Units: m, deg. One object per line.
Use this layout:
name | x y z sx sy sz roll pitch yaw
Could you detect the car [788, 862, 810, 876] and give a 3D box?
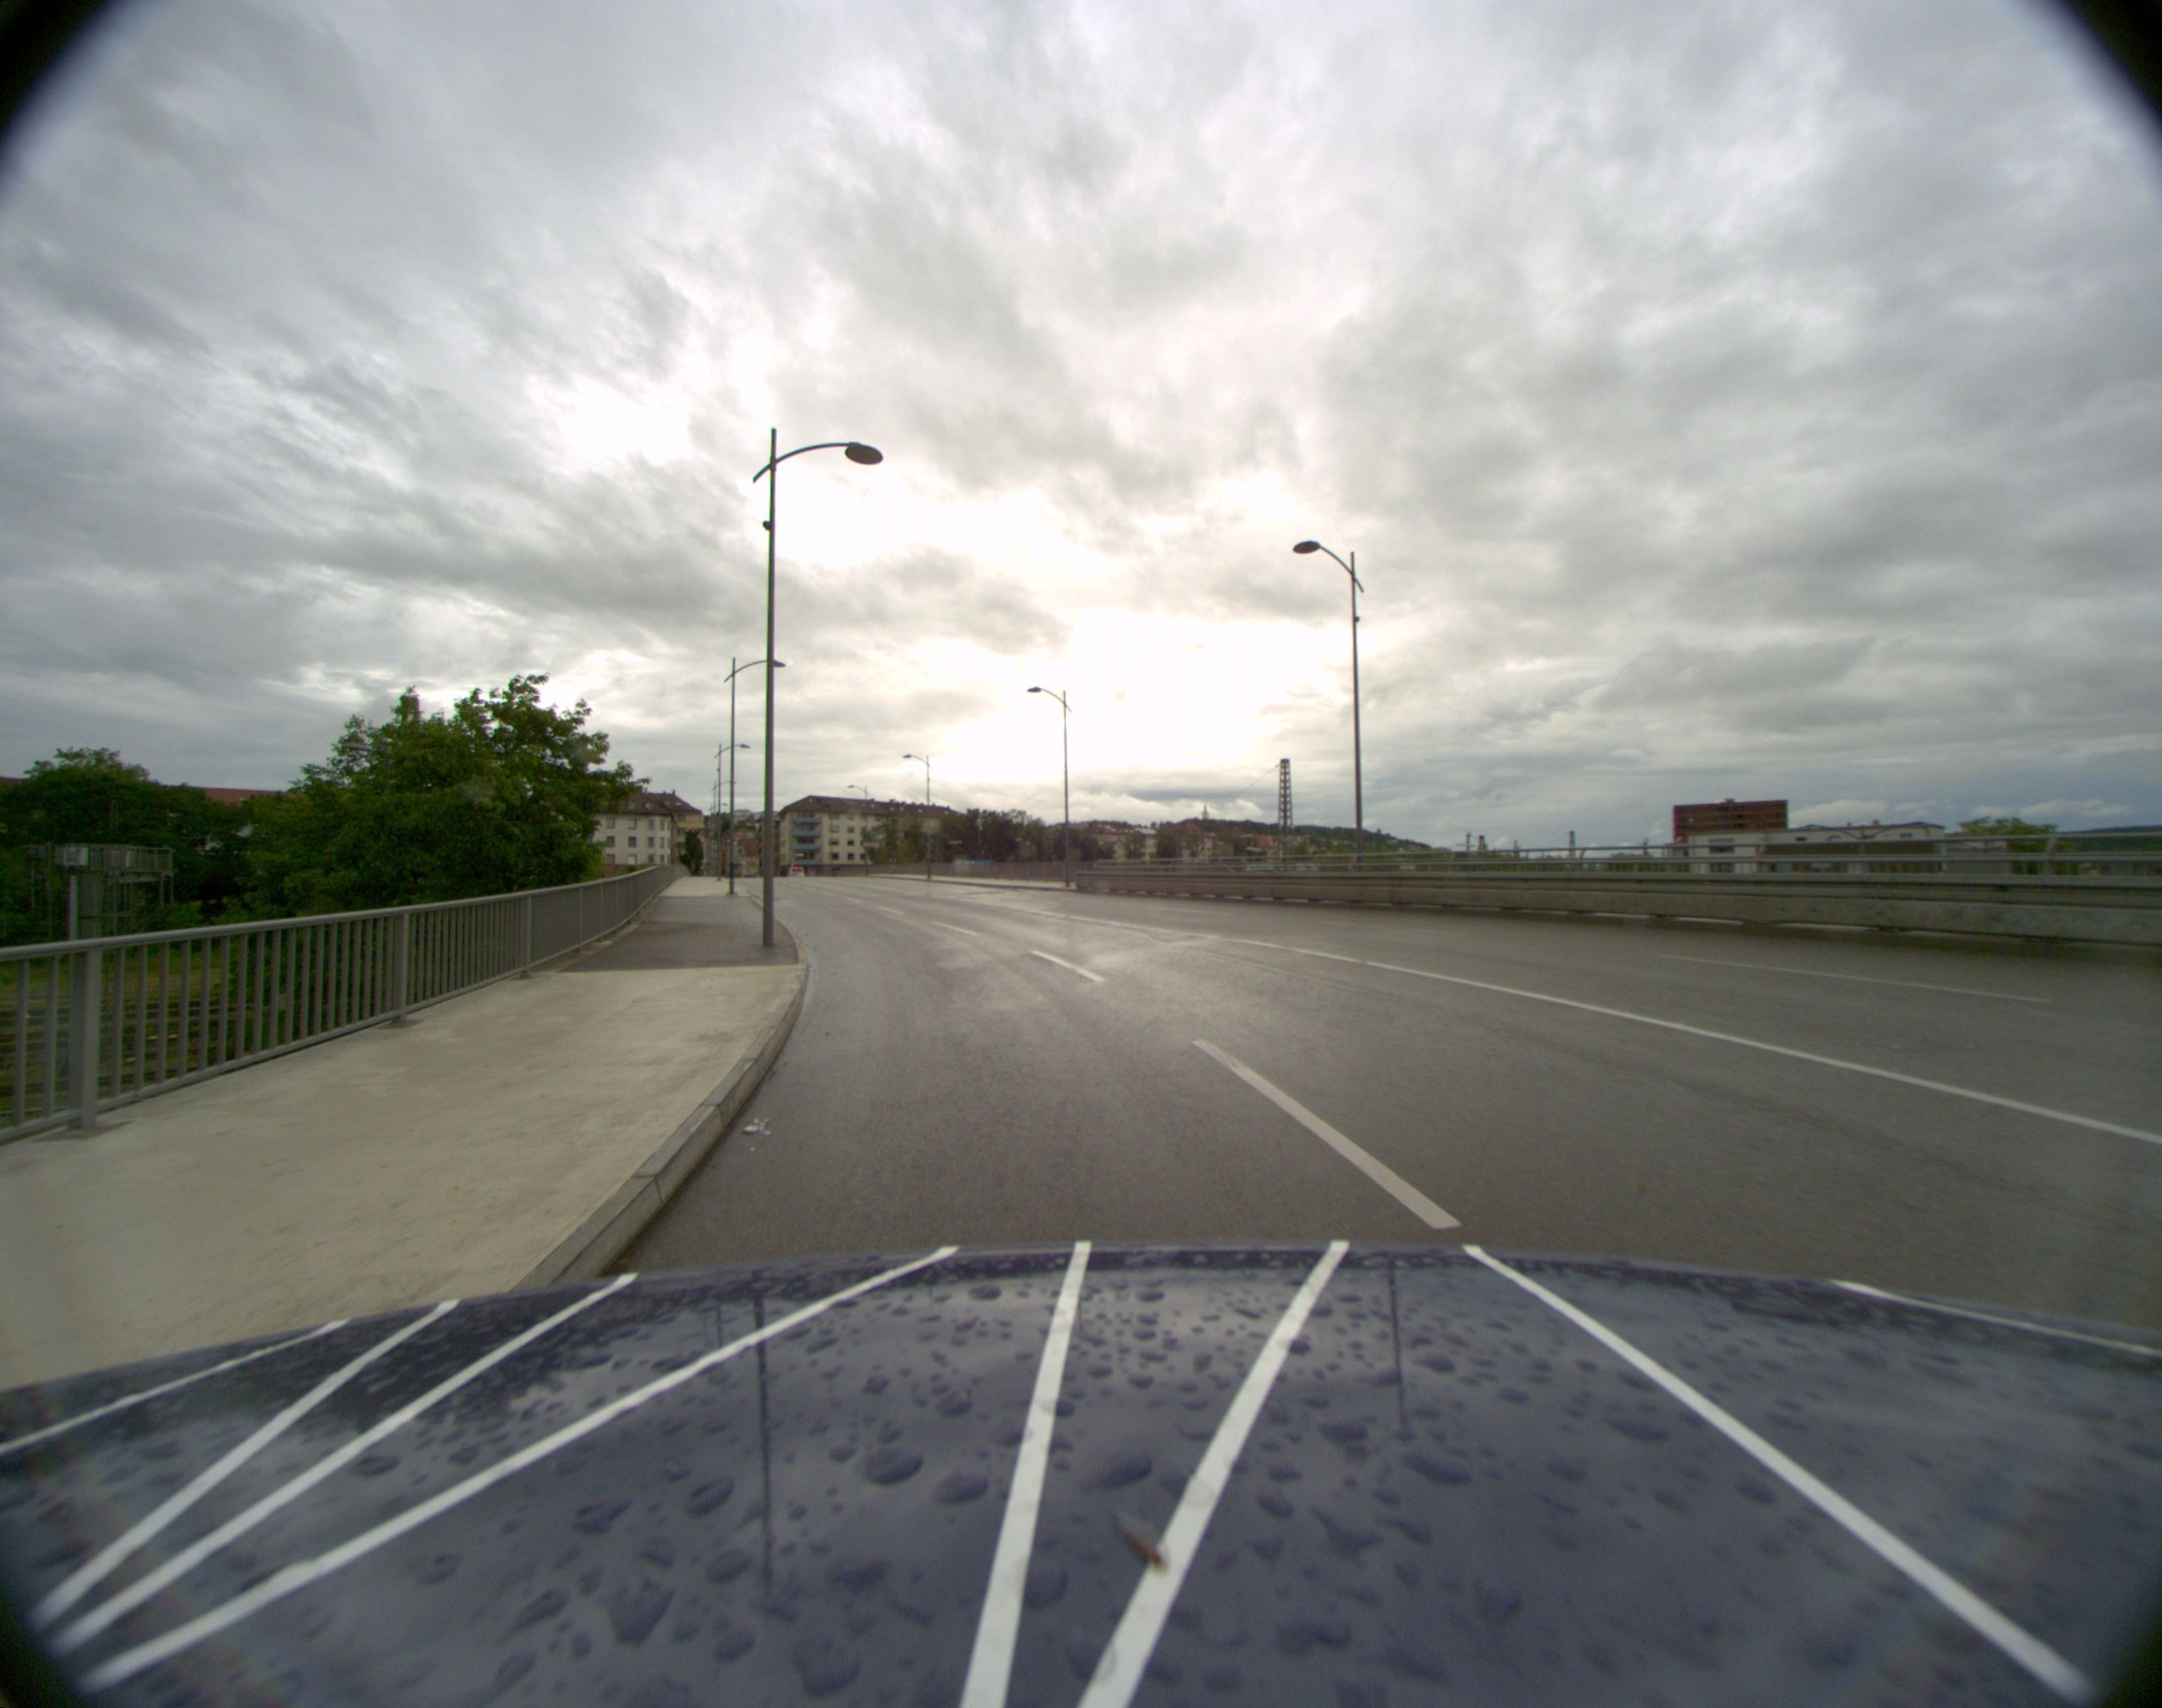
car | -40.784 2.203 109.811 1.895 1.811 4.948 -4 -1 -32
